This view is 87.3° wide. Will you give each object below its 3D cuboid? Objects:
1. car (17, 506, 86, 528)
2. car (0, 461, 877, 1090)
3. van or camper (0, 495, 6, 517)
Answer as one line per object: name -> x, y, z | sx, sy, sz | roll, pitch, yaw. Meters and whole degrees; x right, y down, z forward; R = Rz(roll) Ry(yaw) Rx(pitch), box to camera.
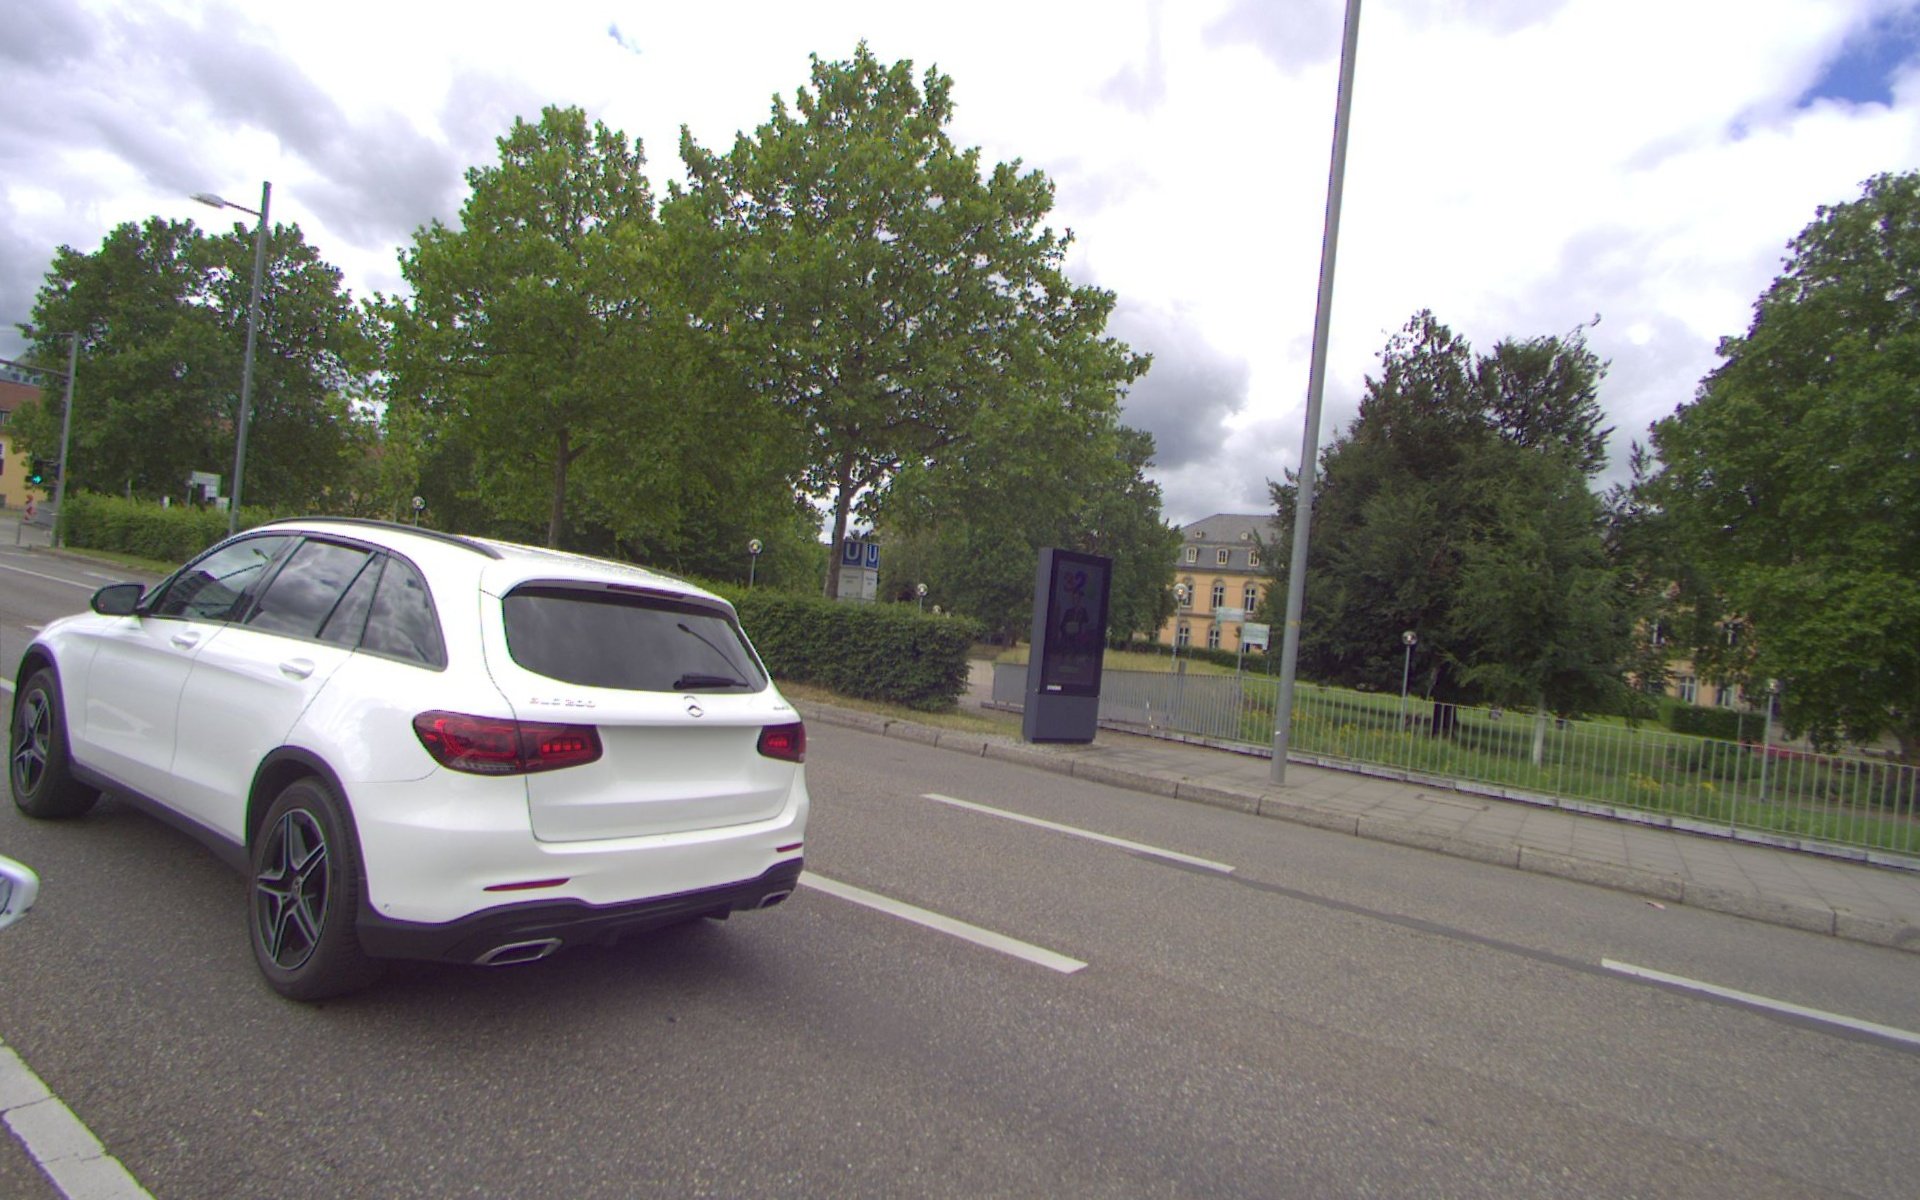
car -> -89.720, -8.185, 99.432 | 4.637, 1.437, 1.587 | 8, -1, -26
car -> -2.727, 0.413, 4.768 | 4.308, 1.666, 1.821 | 7, -1, 34
van or camper -> -96.010, -9.514, 96.598 | 5.945, 2.037, 2.010 | 8, -1, -22
